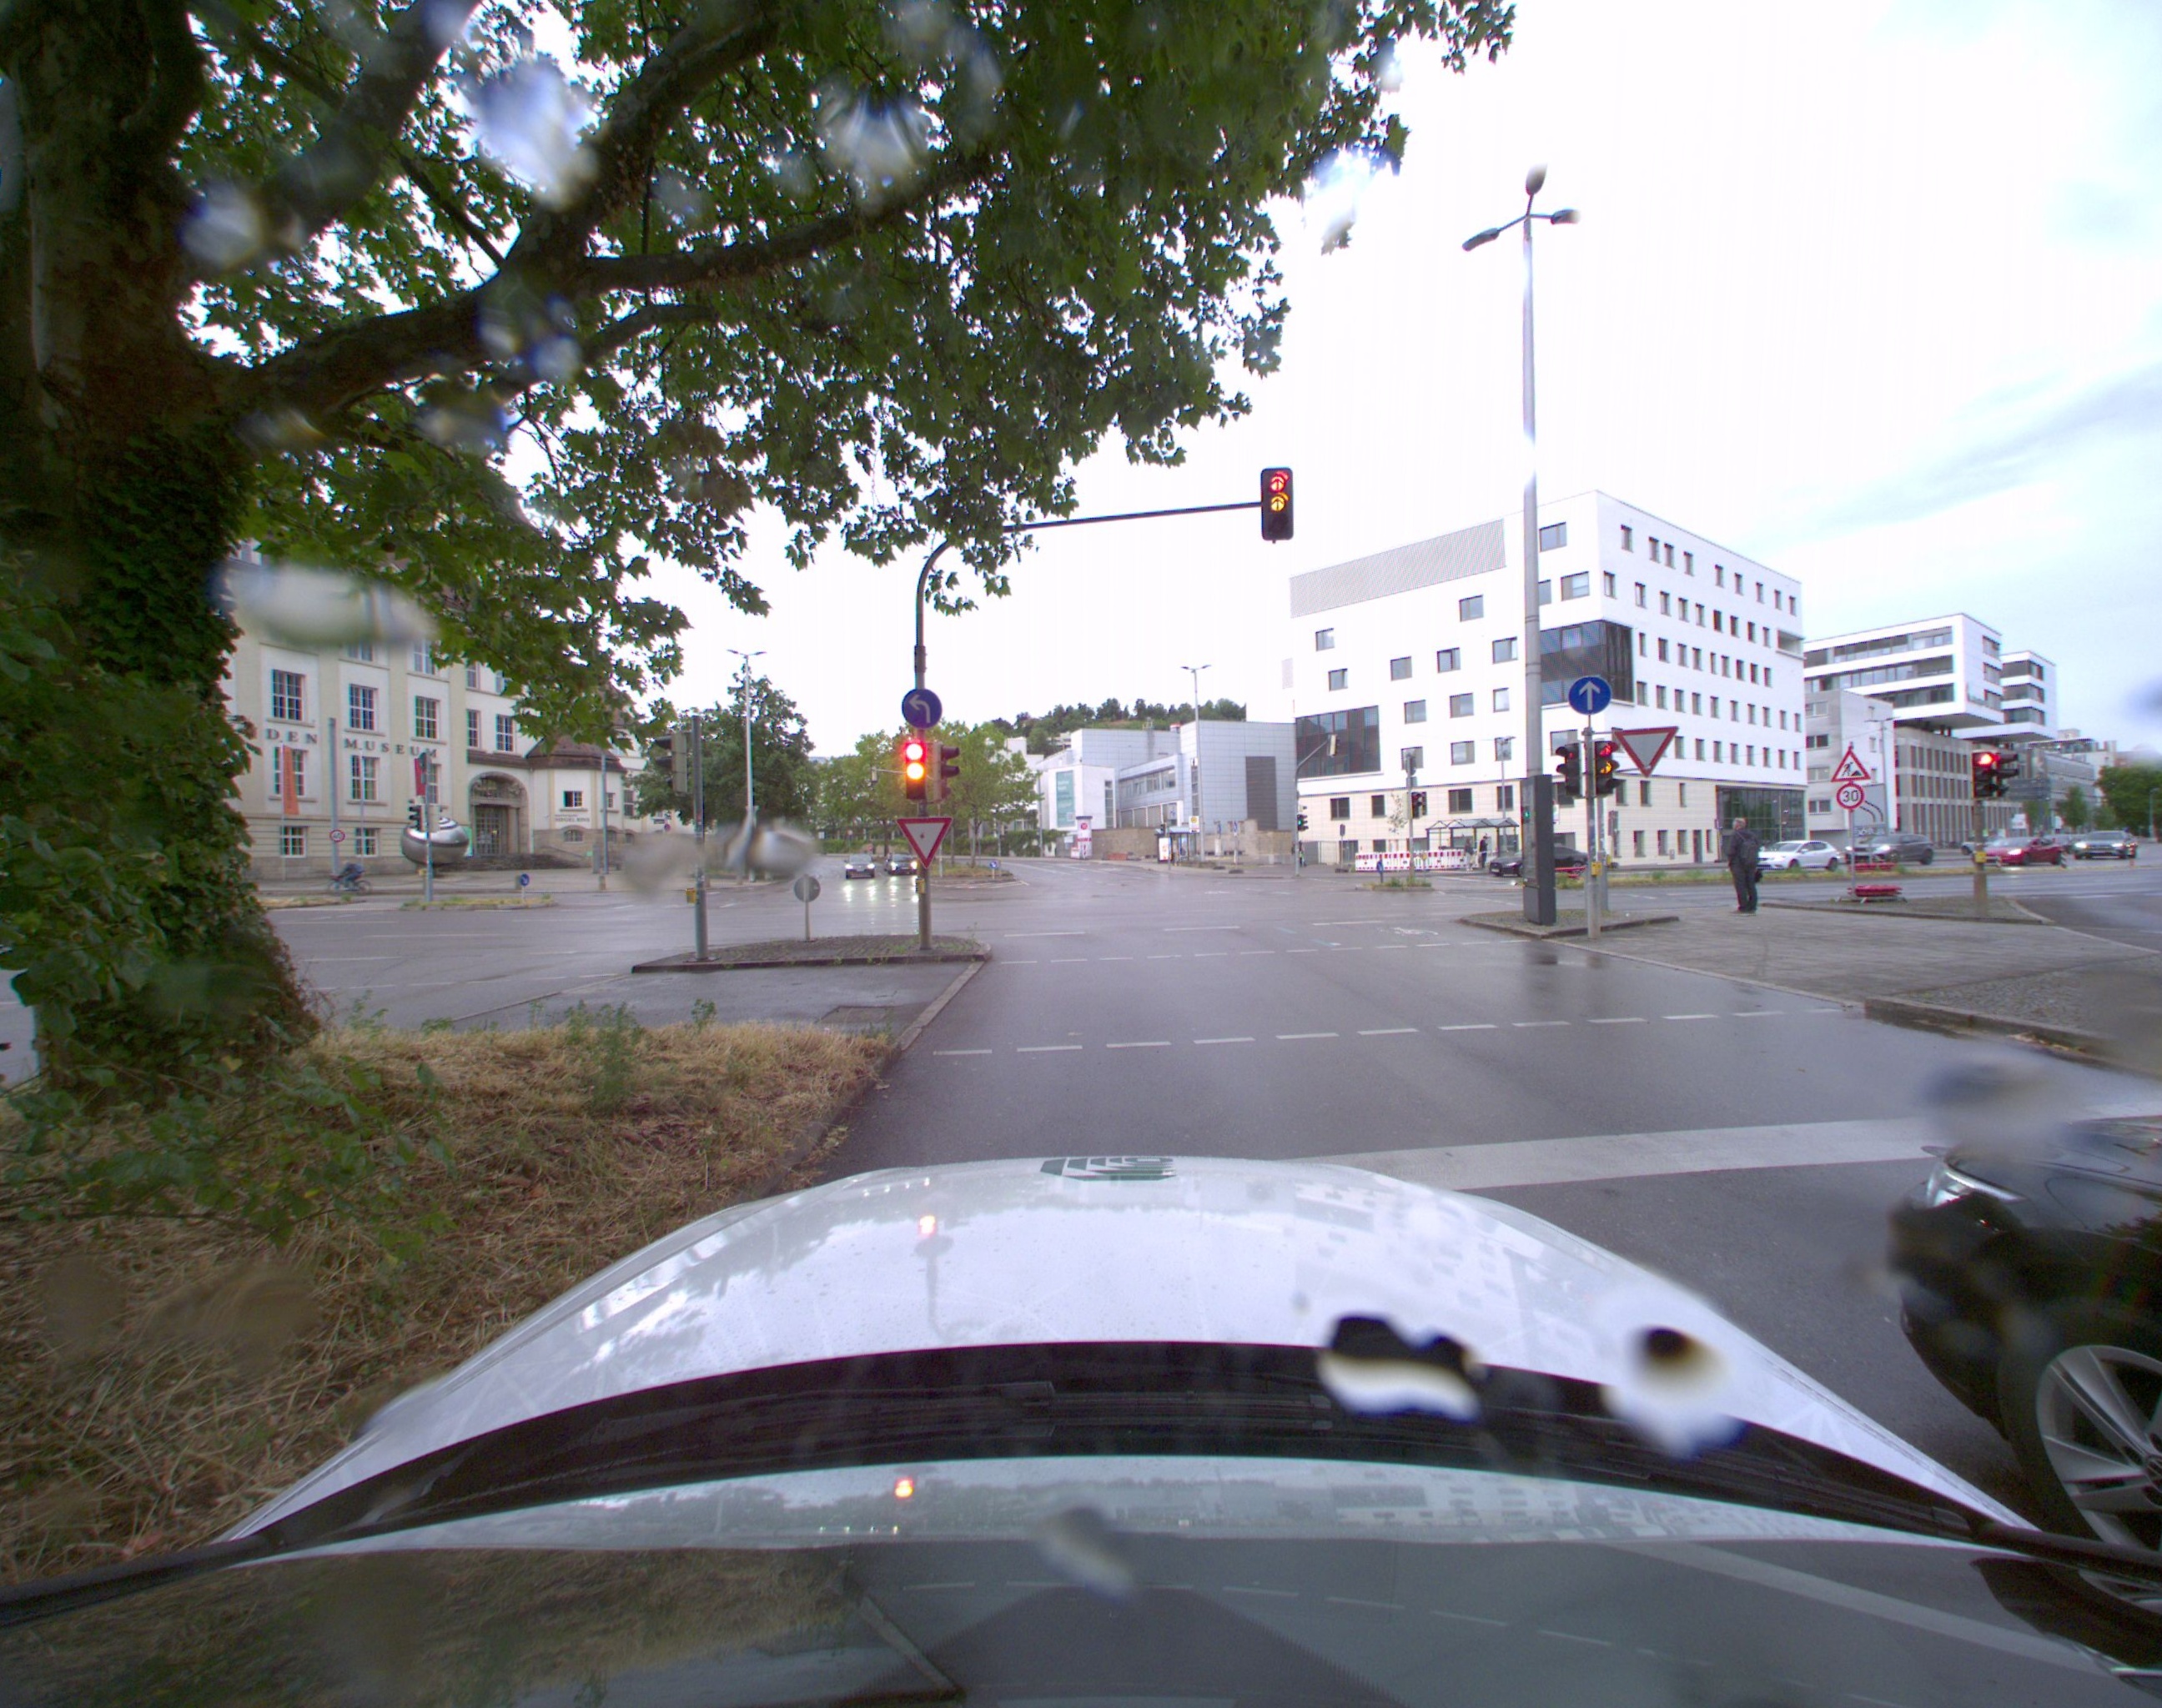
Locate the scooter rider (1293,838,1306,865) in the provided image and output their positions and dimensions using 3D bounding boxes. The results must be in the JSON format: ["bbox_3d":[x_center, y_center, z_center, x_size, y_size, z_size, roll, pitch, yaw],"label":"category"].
[{"bbox_3d":[15.529,-0.189,57.892,0.725,1.883,0.628,1,-1,-18],"label":"scooter rider"}]

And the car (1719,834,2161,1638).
[{"bbox_3d":[2.810,0.718,0.281,1.665,1.466,4.512,-1,1,0],"label":"car"}]

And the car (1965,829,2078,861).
[{"bbox_3d":[47.740,-0.456,41.360,4.520,1.557,1.957,0,0,-14],"label":"car"}]

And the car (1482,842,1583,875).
[{"bbox_3d":[20.887,0.209,37.719,3.991,1.444,1.790,0,0,-13],"label":"car"}]

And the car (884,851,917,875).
[{"bbox_3d":[-12.903,0.596,58.199,1.795,1.584,3.973,-2,1,-20],"label":"car"}]

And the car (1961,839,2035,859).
[{"bbox_3d":[76.085,-0.414,67.640,1.949,1.557,4.073,0,0,8],"label":"car"}]

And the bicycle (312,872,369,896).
[{"bbox_3d":[-33.183,1.333,36.524,1.816,1.056,0.645,-1,-1,-12],"label":"bicycle"}]

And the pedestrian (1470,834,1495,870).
[{"bbox_3d":[21.700,-0.105,44.038,0.995,1.935,0.957,0,-1,11],"label":"pedestrian"}]

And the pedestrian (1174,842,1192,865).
[{"bbox_3d":[7.758,-0.054,61.769,1.253,1.719,1.016,0,-1,0],"label":"pedestrian"}]

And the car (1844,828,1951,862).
[{"bbox_3d":[43.147,-0.465,43.071,4.378,1.664,1.991,-1,0,-13],"label":"car"}]

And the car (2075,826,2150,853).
[{"bbox_3d":[60.405,-0.827,47.673,4.168,1.537,1.950,0,0,-27],"label":"car"}]

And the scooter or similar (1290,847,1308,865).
[{"bbox_3d":[15.508,0.128,57.929,0.593,1.239,1.305,1,-1,-19],"label":"scooter or similar"}]

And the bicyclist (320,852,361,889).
[{"bbox_3d":[-33.221,0.750,36.530,1.125,1.633,0.699,0,-1,-12],"label":"bicyclist"}]

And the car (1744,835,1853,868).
[{"bbox_3d":[32.847,-0.111,37.332,3.991,1.444,1.790,0,0,-13],"label":"car"}]

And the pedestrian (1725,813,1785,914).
[{"bbox_3d":[13.124,0.181,15.883,0.819,1.892,1.034,-1,-2,36],"label":"pedestrian"}]

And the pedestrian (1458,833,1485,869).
[{"bbox_3d":[20.115,-0.138,42.001,0.951,1.840,0.821,0,-1,-10],"label":"pedestrian"}]

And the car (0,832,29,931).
[{"bbox_3d":[-30.246,0.732,20.461,5.980,2.494,2.072,-1,1,10],"label":"car"}]

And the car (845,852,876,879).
[{"bbox_3d":[-14.711,0.732,54.253,1.871,1.564,4.254,-2,1,-15],"label":"car"}]
